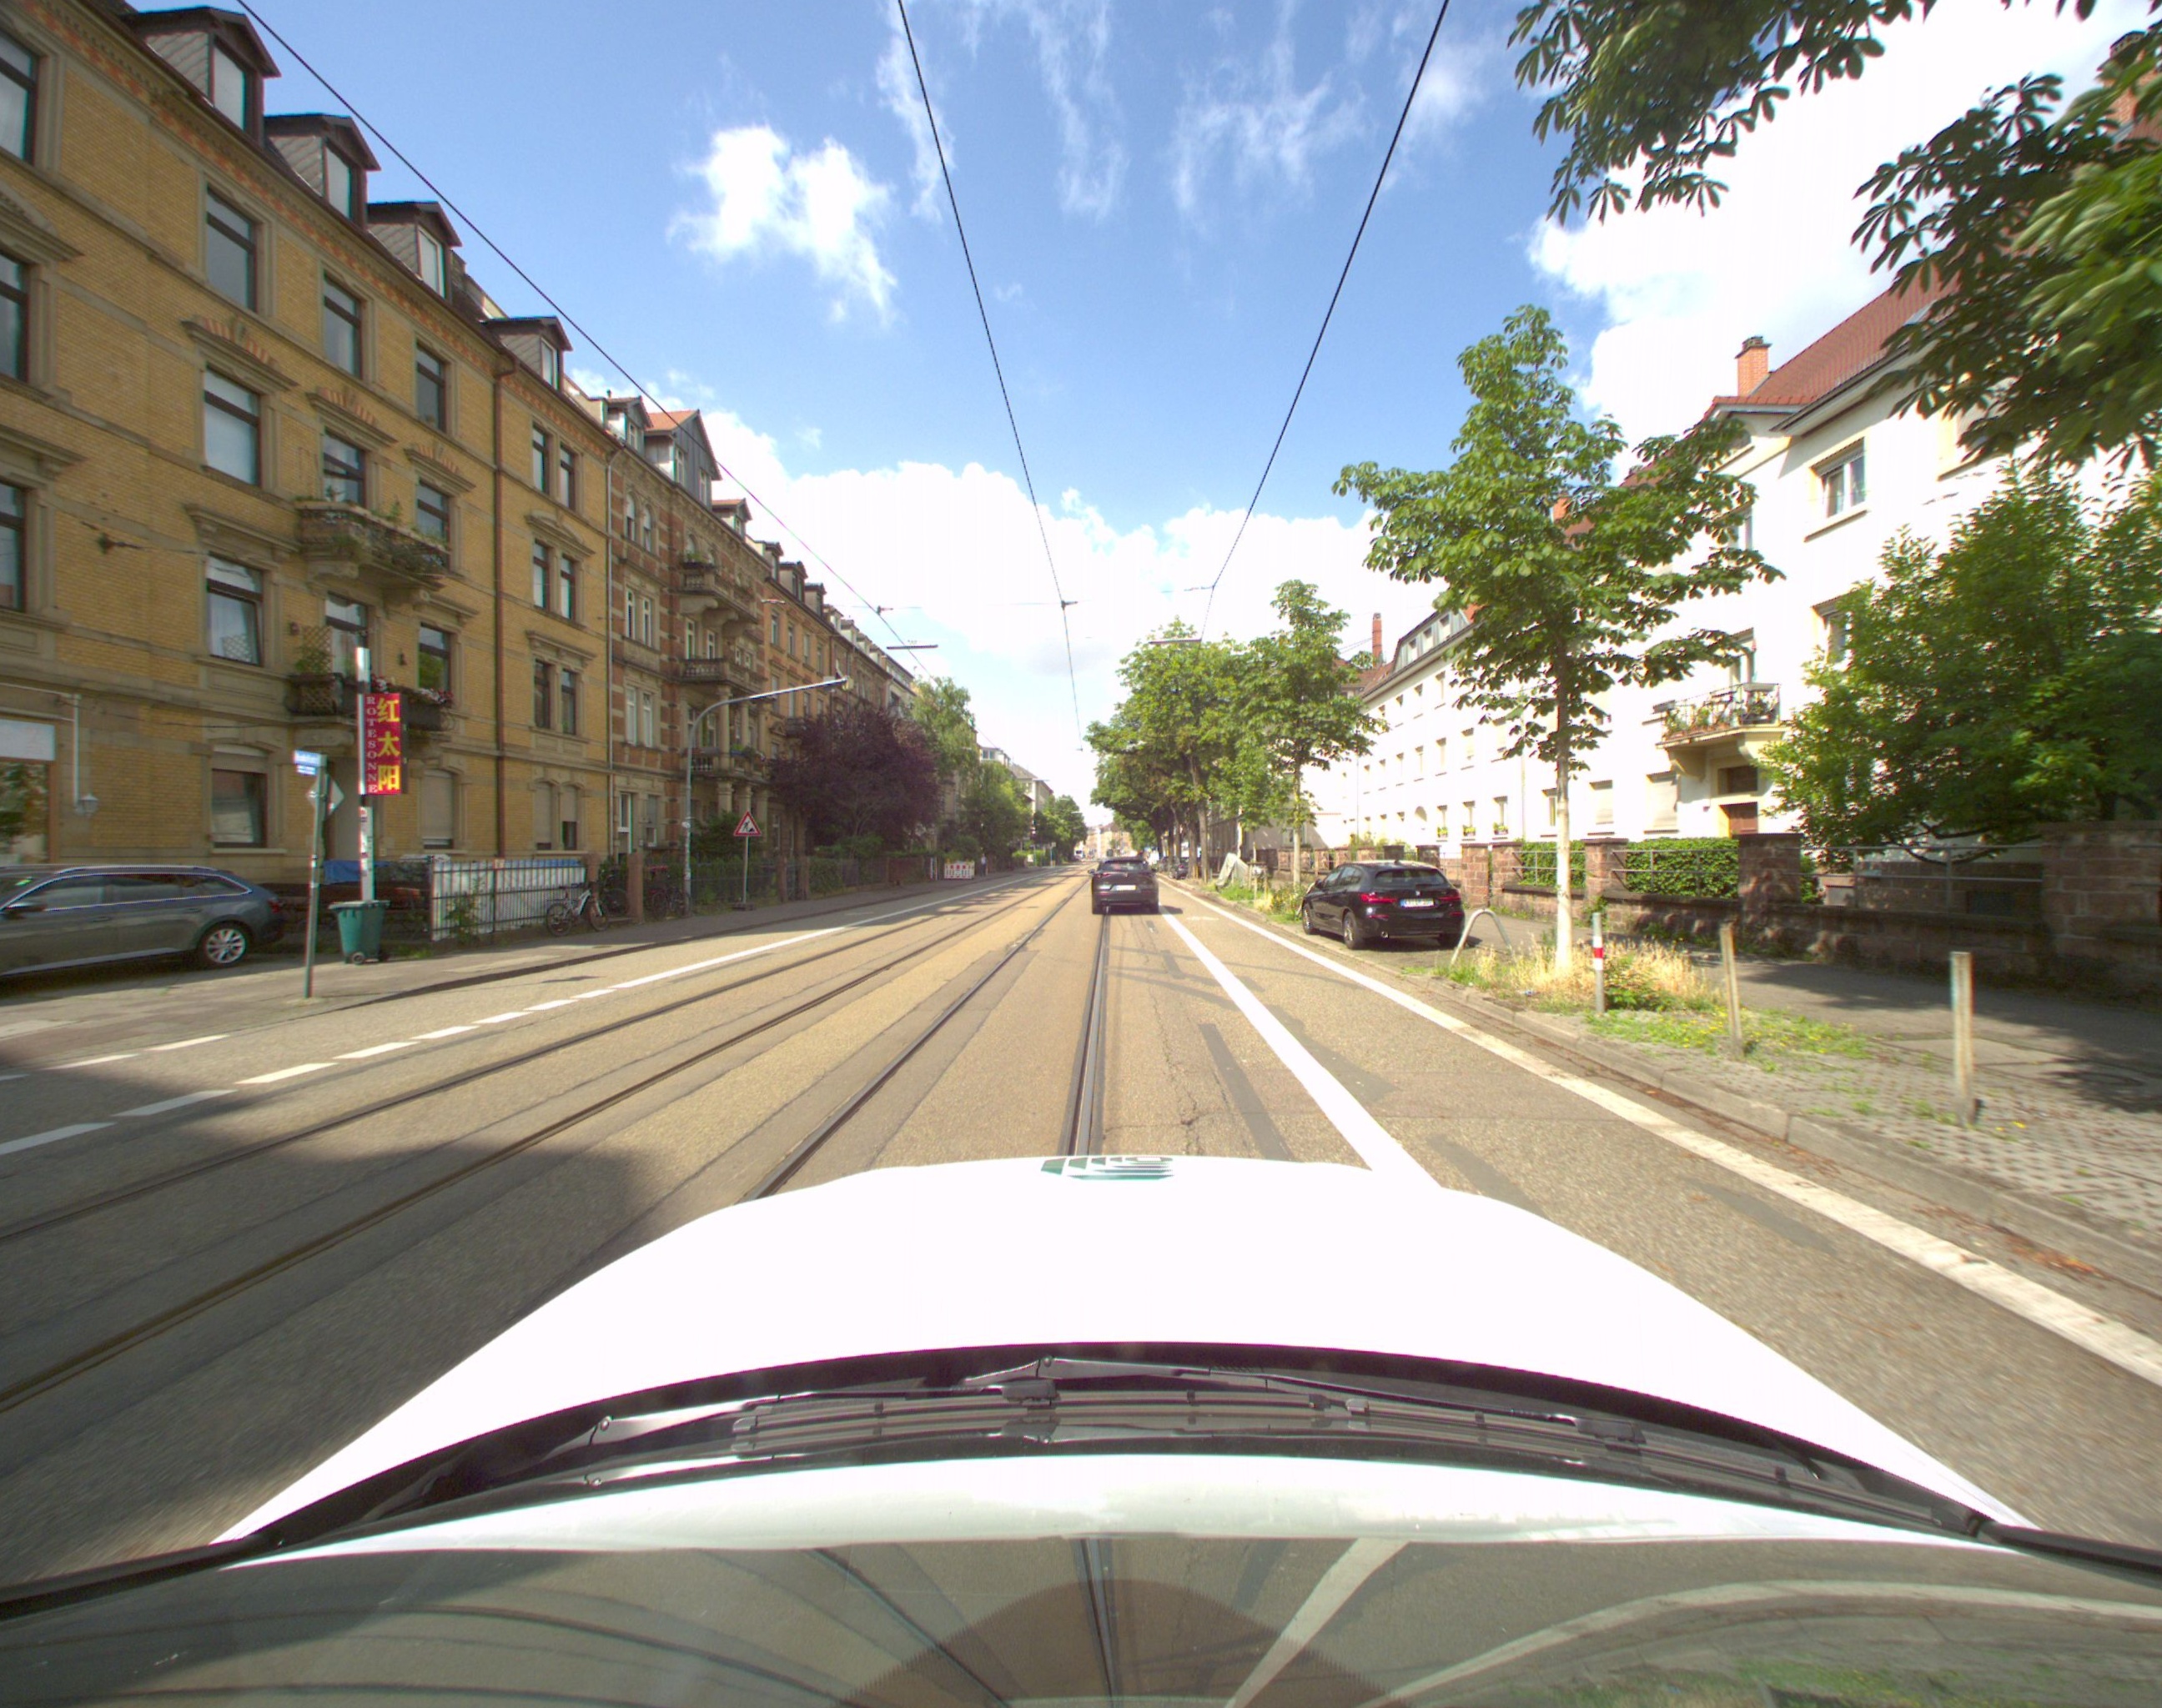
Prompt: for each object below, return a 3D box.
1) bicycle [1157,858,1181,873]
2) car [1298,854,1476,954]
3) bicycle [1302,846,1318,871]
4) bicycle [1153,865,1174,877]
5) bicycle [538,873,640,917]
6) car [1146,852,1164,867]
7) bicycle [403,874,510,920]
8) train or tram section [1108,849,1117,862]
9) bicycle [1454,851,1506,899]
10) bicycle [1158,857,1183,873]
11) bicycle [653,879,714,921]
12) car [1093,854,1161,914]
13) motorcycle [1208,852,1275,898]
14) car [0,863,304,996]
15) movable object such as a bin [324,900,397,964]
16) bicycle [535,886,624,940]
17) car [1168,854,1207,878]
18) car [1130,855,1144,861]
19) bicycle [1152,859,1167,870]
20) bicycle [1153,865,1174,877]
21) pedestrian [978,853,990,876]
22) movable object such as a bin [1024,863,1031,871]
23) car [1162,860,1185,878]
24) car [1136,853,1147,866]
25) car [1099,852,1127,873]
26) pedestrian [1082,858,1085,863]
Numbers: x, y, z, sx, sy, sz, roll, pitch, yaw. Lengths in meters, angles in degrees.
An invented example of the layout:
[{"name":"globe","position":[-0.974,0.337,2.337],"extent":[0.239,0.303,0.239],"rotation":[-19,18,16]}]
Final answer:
[{"name":"bicycle","position":[7.143,0.906,66.088],"extent":[1.880,1.176,0.515],"rotation":[-2,-1,13]},{"name":"car","position":[5.213,0.774,14.479],"extent":[1.699,1.479,4.198],"rotation":[2,0,2]},{"name":"bicycle","position":[11.389,0.226,40.556],"extent":[0.410,1.211,1.705],"rotation":[-1,0,3]},{"name":"bicycle","position":[7.561,1.530,74.868],"extent":[1.896,1.072,0.402],"rotation":[-1,-1,2]},{"name":"bicycle","position":[-11.259,0.931,18.671],"extent":[1.957,0.946,0.531],"rotation":[-1,0,-3]},{"name":"car","position":[10.174,0.753,112.041],"extent":[1.783,1.938,4.984],"rotation":[-1,0,-4]},{"name":"bicycle","position":[-13.653,0.938,17.819],"extent":[1.954,0.946,0.532],"rotation":[-1,0,1]},{"name":"train or tram section","position":[9.823,0.469,256.736],"extent":[2.561,3.772,13.036],"rotation":[-1,0,3]},{"name":"bicycle","position":[10.610,0.533,21.695],"extent":[0.597,1.211,1.705],"rotation":[-1,0,3]},{"name":"bicycle","position":[7.207,0.895,65.542],"extent":[1.923,1.176,0.515],"rotation":[-2,-1,13]},{"name":"bicycle","position":[-10.069,1.141,20.705],"extent":[0.528,0.946,1.969],"rotation":[-1,0,2]},{"name":"car","position":[1.247,0.783,22.692],"extent":[1.714,1.526,3.591],"rotation":[-1,0,2]},{"name":"motorcycle","position":[5.933,0.757,30.198],"extent":[2.357,1.597,0.683],"rotation":[1,1,41]},{"name":"car","position":[-12.901,0.861,10.171],"extent":[1.679,1.459,4.767],"rotation":[0,0,2]},{"name":"movable object such as a bin","position":[-10.948,1.172,12.388],"extent":[0.523,0.906,0.636],"rotation":[-1,0,0]},{"name":"bicycle","position":[-10.118,1.158,16.527],"extent":[0.528,0.946,1.969],"rotation":[-1,0,2]},{"name":"car","position":[6.865,0.766,52.734],"extent":[1.841,1.409,4.393],"rotation":[-2,0,-1]},{"name":"car","position":[17.464,1.184,253.771],"extent":[3.814,1.618,1.629],"rotation":[2,0,-16]},{"name":"bicycle","position":[7.688,1.045,79.929],"extent":[1.484,0.983,0.259],"rotation":[-1,-1,4]},{"name":"bicycle","position":[7.593,1.537,75.357],"extent":[1.896,1.072,0.402],"rotation":[-1,-1,2]},{"name":"pedestrian","position":[-7.520,0.801,63.054],"extent":[0.820,1.706,0.891],"rotation":[-1,-1,-1]},{"name":"movable object such as a bin","position":[-6.666,1.562,101.007],"extent":[0.742,0.988,1.115],"rotation":[2,0,2]},{"name":"car","position":[7.962,1.254,70.294],"extent":[1.659,1.430,3.768],"rotation":[-3,0,3]},{"name":"car","position":[9.549,0.827,128.760],"extent":[1.713,1.968,4.210],"rotation":[-1,0,3]},{"name":"car","position":[2.377,0.633,61.252],"extent":[1.986,1.529,4.002],"rotation":[2,0,2]},{"name":"pedestrian","position":[0.693,1.813,242.906],"extent":[0.749,1.510,0.823],"rotation":[-1,0,-2]}]
